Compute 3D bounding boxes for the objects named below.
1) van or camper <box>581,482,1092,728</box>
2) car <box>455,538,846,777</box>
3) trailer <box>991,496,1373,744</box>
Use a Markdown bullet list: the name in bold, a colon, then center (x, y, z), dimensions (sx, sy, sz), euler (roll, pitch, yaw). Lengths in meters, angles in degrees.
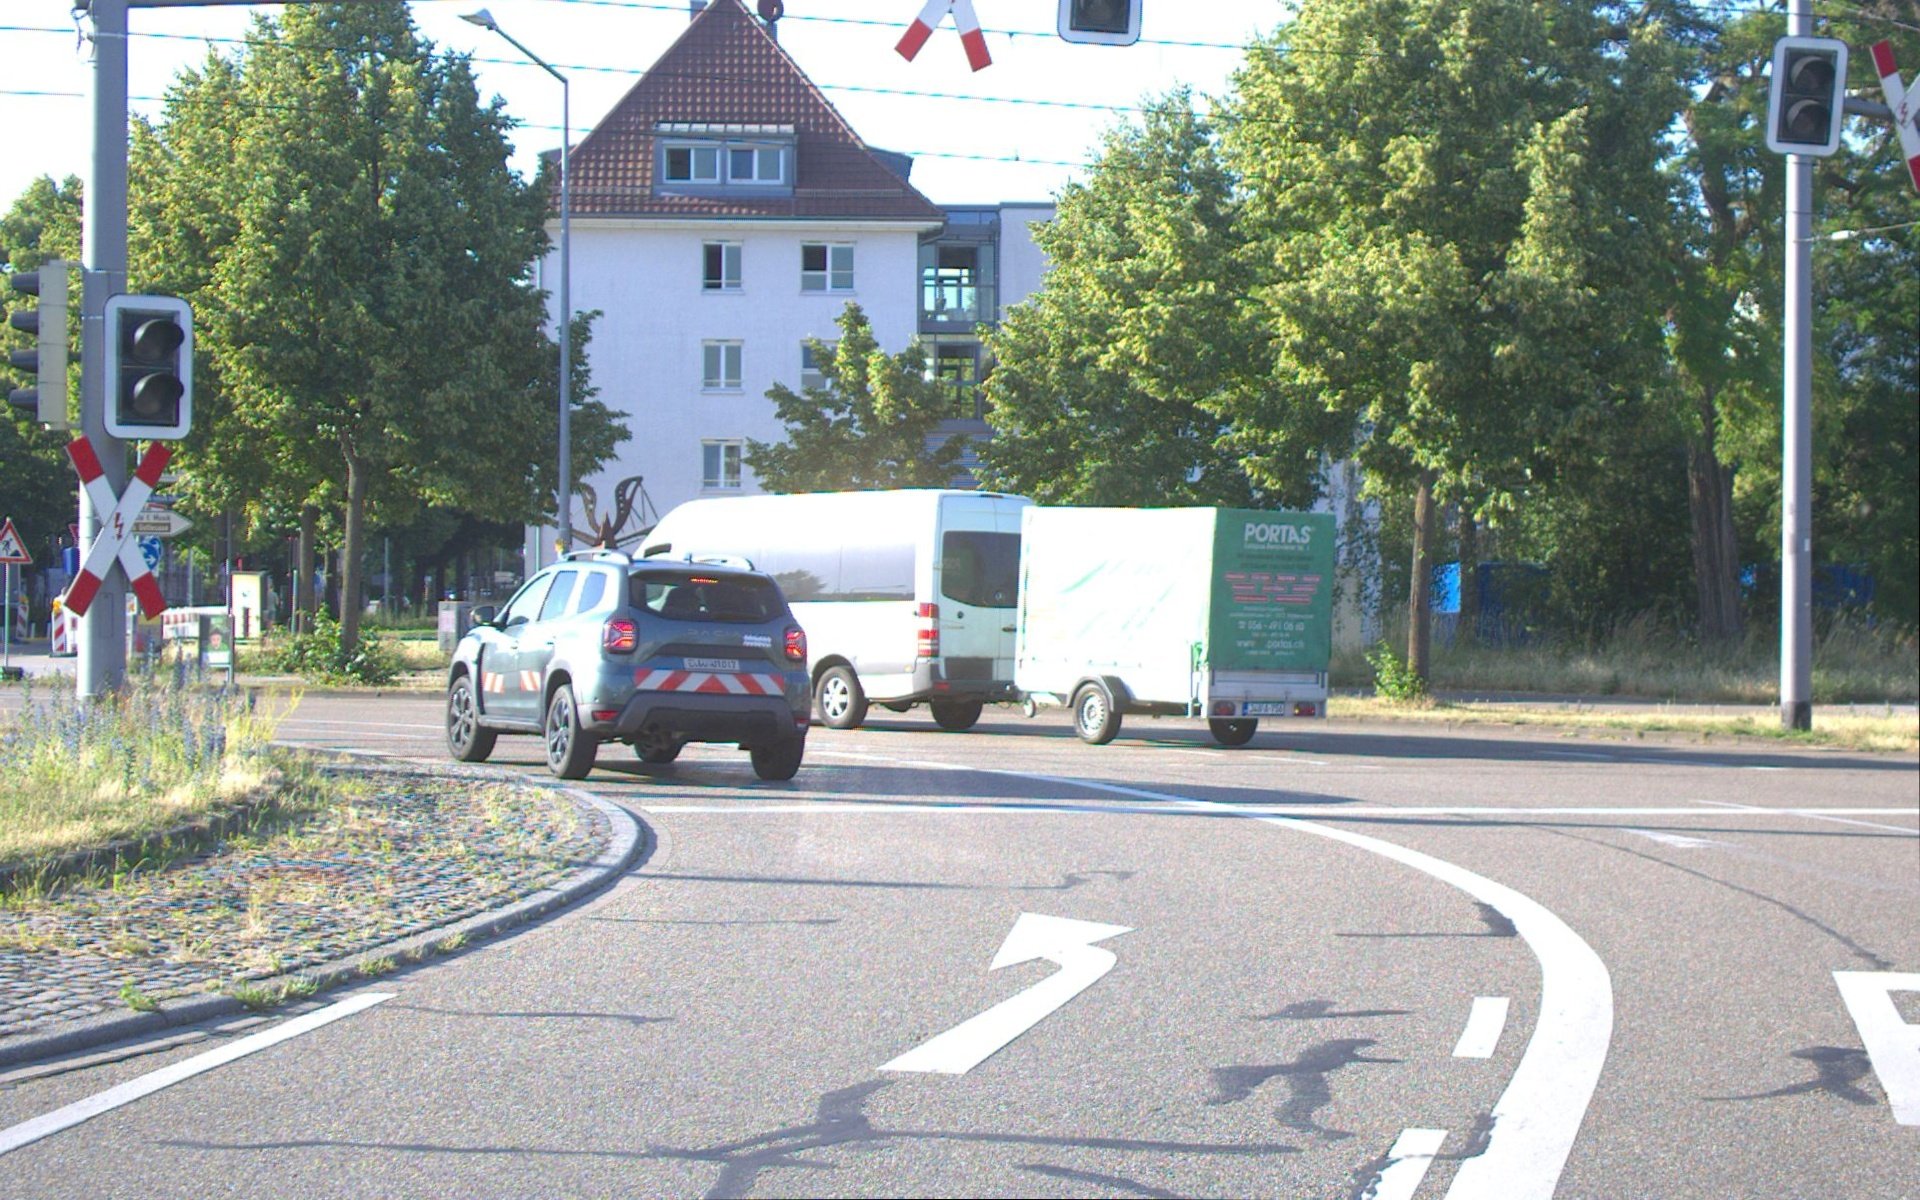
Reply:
- **van or camper**: center (-1.562, 0.019, 39.762), dimensions (2.285, 2.620, 6.581), euler (2, 0, -40)
- **car**: center (-2.428, 0.393, 26.010), dimensions (1.905, 1.654, 4.001), euler (0, 0, -21)
- **trailer**: center (2.228, 0.194, 35.194), dimensions (2.090, 2.392, 3.500), euler (2, 0, -36)
